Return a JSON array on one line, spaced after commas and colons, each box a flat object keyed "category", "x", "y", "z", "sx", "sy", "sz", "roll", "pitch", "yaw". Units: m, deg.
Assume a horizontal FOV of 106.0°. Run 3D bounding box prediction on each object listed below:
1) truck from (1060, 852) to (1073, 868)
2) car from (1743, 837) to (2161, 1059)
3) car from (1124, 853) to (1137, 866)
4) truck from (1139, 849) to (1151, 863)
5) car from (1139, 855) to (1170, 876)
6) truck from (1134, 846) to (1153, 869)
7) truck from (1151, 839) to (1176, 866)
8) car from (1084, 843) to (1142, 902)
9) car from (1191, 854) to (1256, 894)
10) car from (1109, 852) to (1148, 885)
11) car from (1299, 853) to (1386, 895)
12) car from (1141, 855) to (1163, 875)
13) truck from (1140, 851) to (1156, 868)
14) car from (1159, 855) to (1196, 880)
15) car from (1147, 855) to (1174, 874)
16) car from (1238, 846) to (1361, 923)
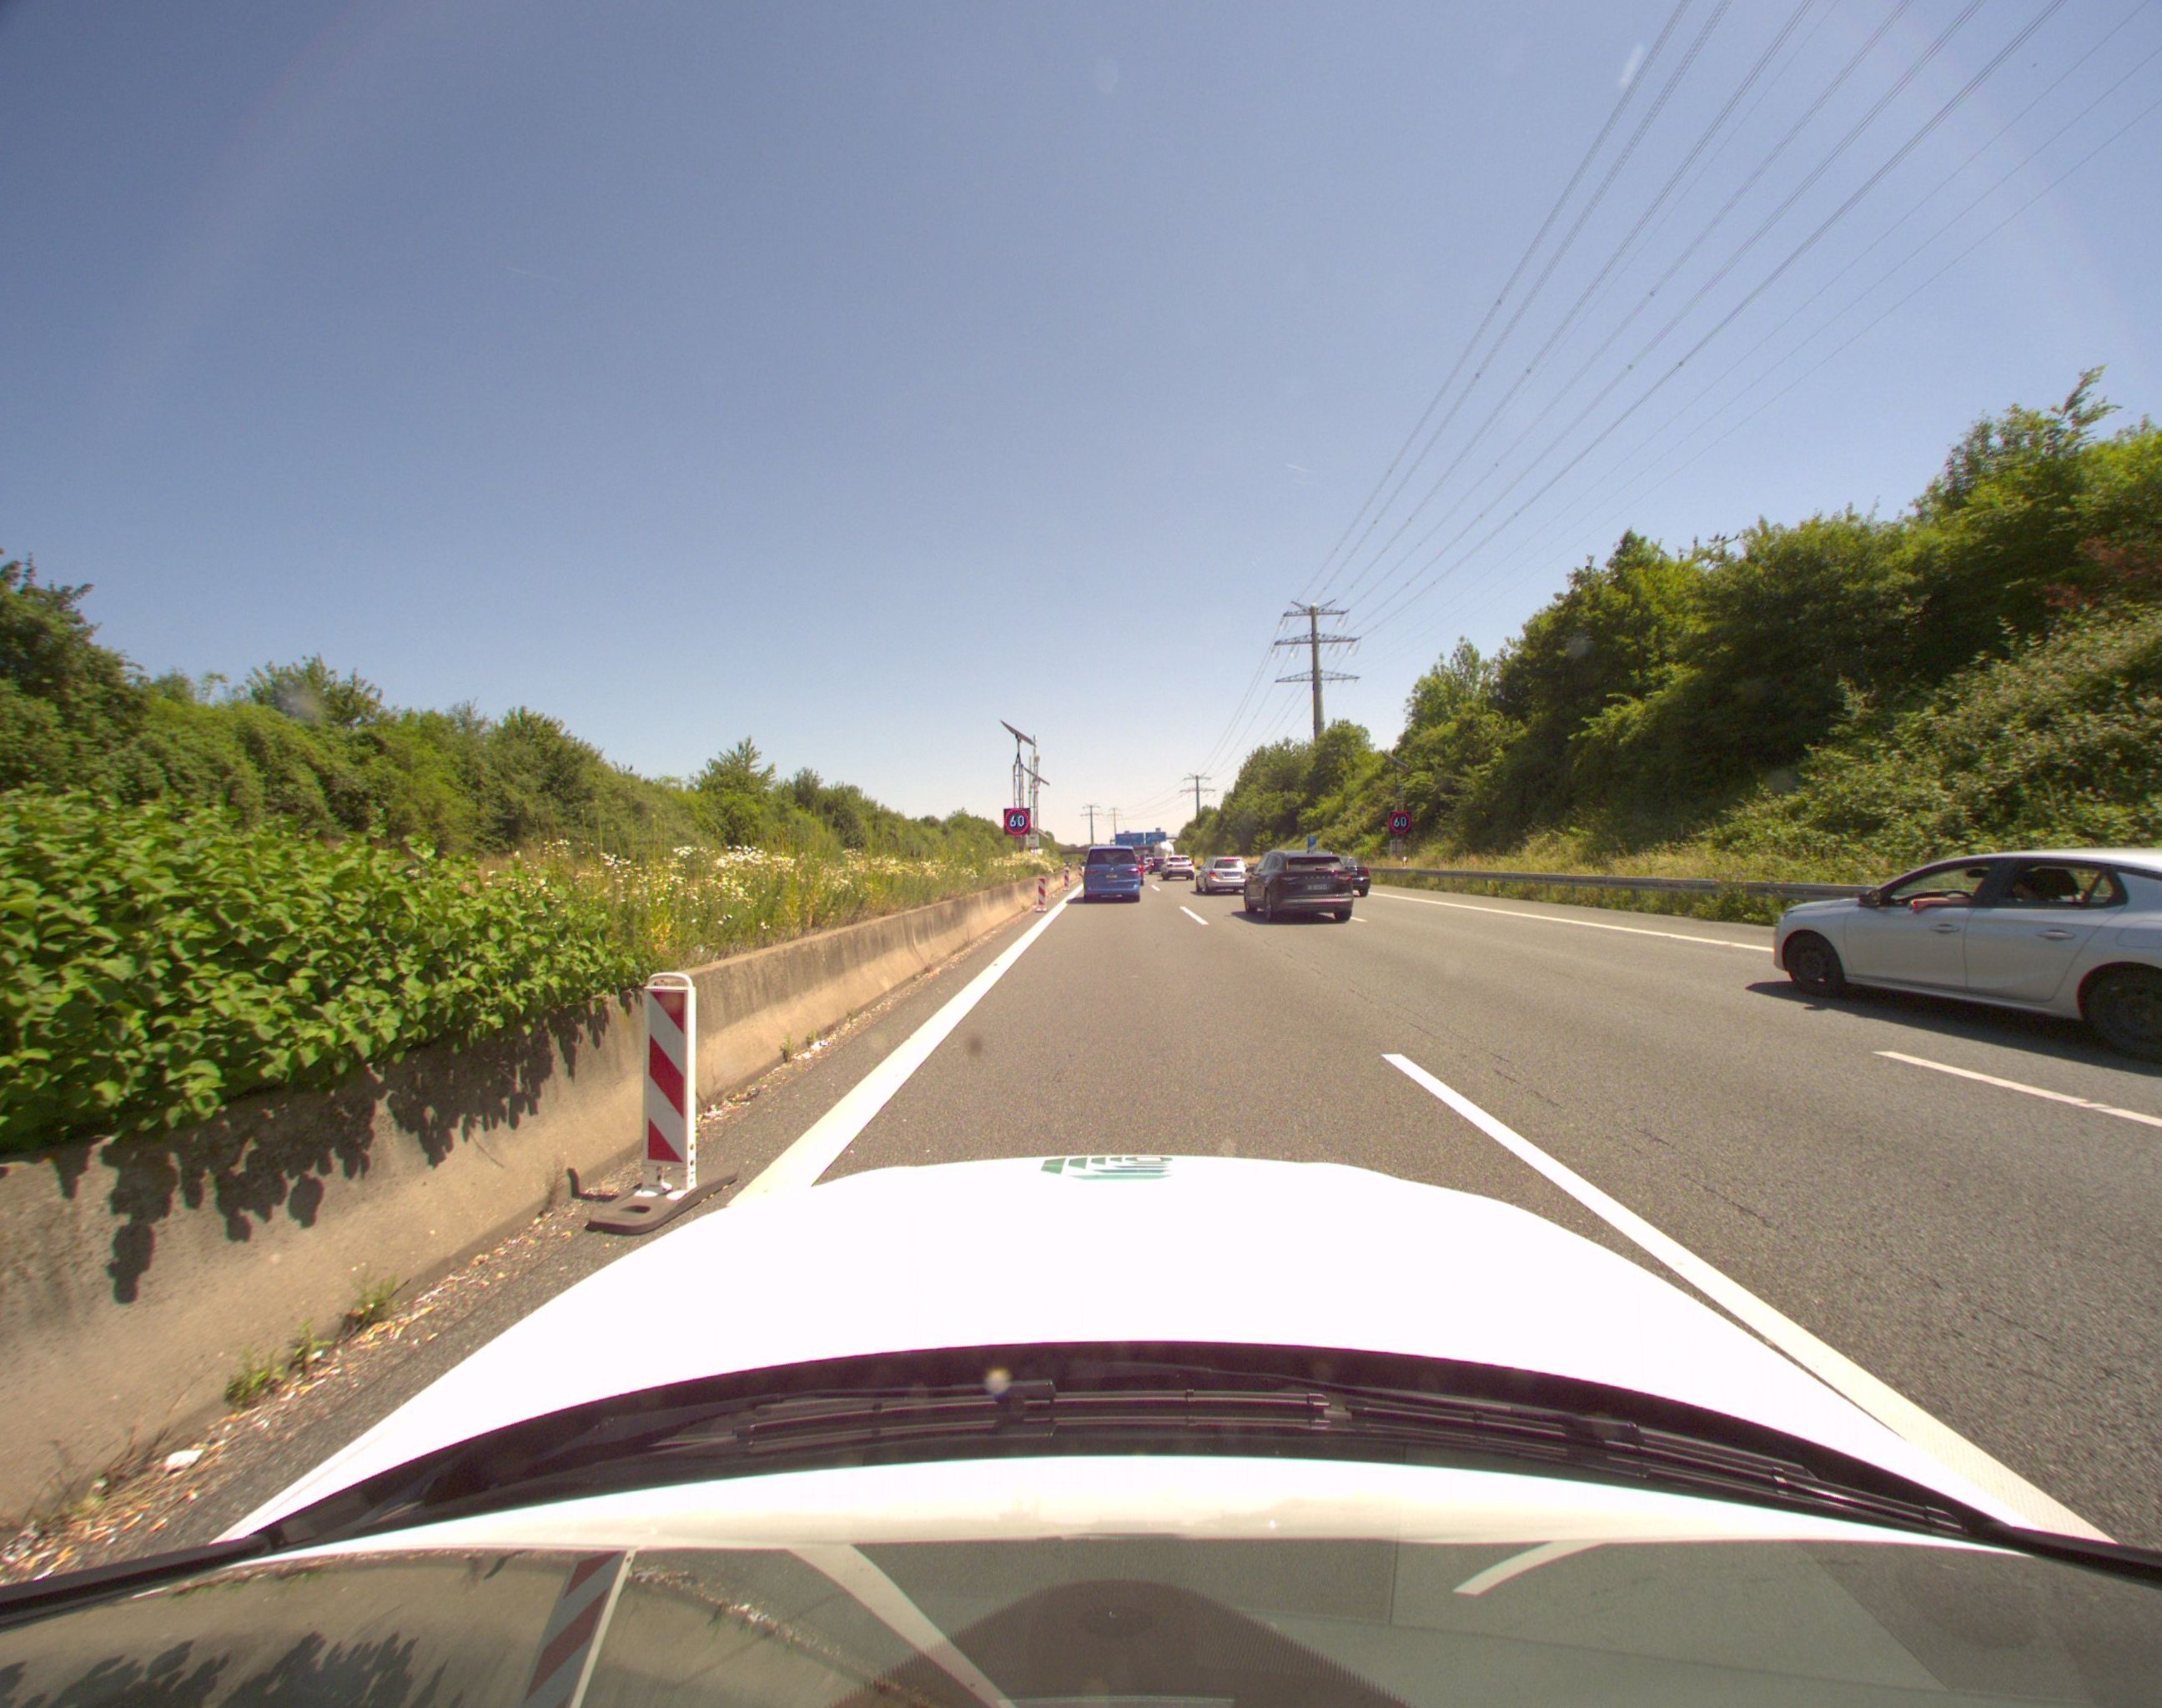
[{"category": "truck", "x": -3.841, "y": 1.503, "z": 212.923, "sx": 2.752, "sy": 3.888, "sz": 9.032, "roll": -4, "pitch": 0, "yaw": 1}, {"category": "car", "x": 8.055, "y": 0.610, "z": 6.891, "sx": 1.734, "sy": 1.470, "sz": 4.016, "roll": -1, "pitch": 0, "yaw": 2}, {"category": "car", "x": 7.952, "y": 0.866, "z": 131.096, "sx": 1.986, "sy": 2.014, "sz": 4.001, "roll": 0, "pitch": 0, "yaw": 1}, {"category": "truck", "x": 19.773, "y": 0.591, "z": 251.797, "sx": 2.927, "sy": 4.291, "sz": 12.554, "roll": 0, "pitch": 0, "yaw": 1}, {"category": "car", "x": 5.483, "y": 0.835, "z": 61.088, "sx": 1.902, "sy": 1.516, "sz": 4.383, "roll": 0, "pitch": 0, "yaw": 0}, {"category": "truck", "x": 7.454, "y": 0.395, "z": 97.409, "sx": 1.986, "sy": 2.723, "sz": 5.681, "roll": 0, "pitch": 0, "yaw": 1}, {"category": "truck", "x": 13.068, "y": -0.198, "z": 130.524, "sx": 2.635, "sy": 4.072, "sz": 16.443, "roll": 0, "pitch": 0, "yaw": 1}, {"category": "car", "x": 1.031, "y": 0.604, "z": 28.488, "sx": 1.865, "sy": 1.879, "sz": 4.383, "roll": 0, "pitch": 0, "yaw": 0}, {"category": "car", "x": 5.564, "y": 0.749, "z": 32.214, "sx": 1.815, "sy": 1.437, "sz": 4.383, "roll": 0, "pitch": 0, "yaw": 0}, {"category": "car", "x": 2.478, "y": 0.737, "z": 43.286, "sx": 1.902, "sy": 1.631, "sz": 4.384, "roll": -1, "pitch": 0, "yaw": 1}, {"category": "car", "x": 9.272, "y": 0.670, "z": 29.232, "sx": 1.729, "sy": 1.378, "sz": 4.302, "roll": 0, "pitch": 0, "yaw": 0}, {"category": "car", "x": 7.172, "y": 1.073, "z": 82.121, "sx": 1.986, "sy": 2.014, "sz": 4.002, "roll": 0, "pitch": 0, "yaw": 2}, {"category": "truck", "x": 14.571, "y": 1.124, "z": 176.766, "sx": 2.635, "sy": 3.539, "sz": 12.554, "roll": 0, "pitch": 0, "yaw": 1}, {"category": "car", "x": 6.011, "y": 0.802, "z": 51.049, "sx": 1.902, "sy": 1.508, "sz": 3.921, "roll": 0, "pitch": 0, "yaw": 0}, {"category": "car", "x": 6.732, "y": 0.883, "z": 69.669, "sx": 1.902, "sy": 1.516, "sz": 4.383, "roll": 0, "pitch": 0, "yaw": 0}, {"category": "car", "x": 5.053, "y": 0.639, "z": 19.479, "sx": 1.821, "sy": 1.614, "sz": 4.432, "roll": -1, "pitch": 0, "yaw": 1}]
